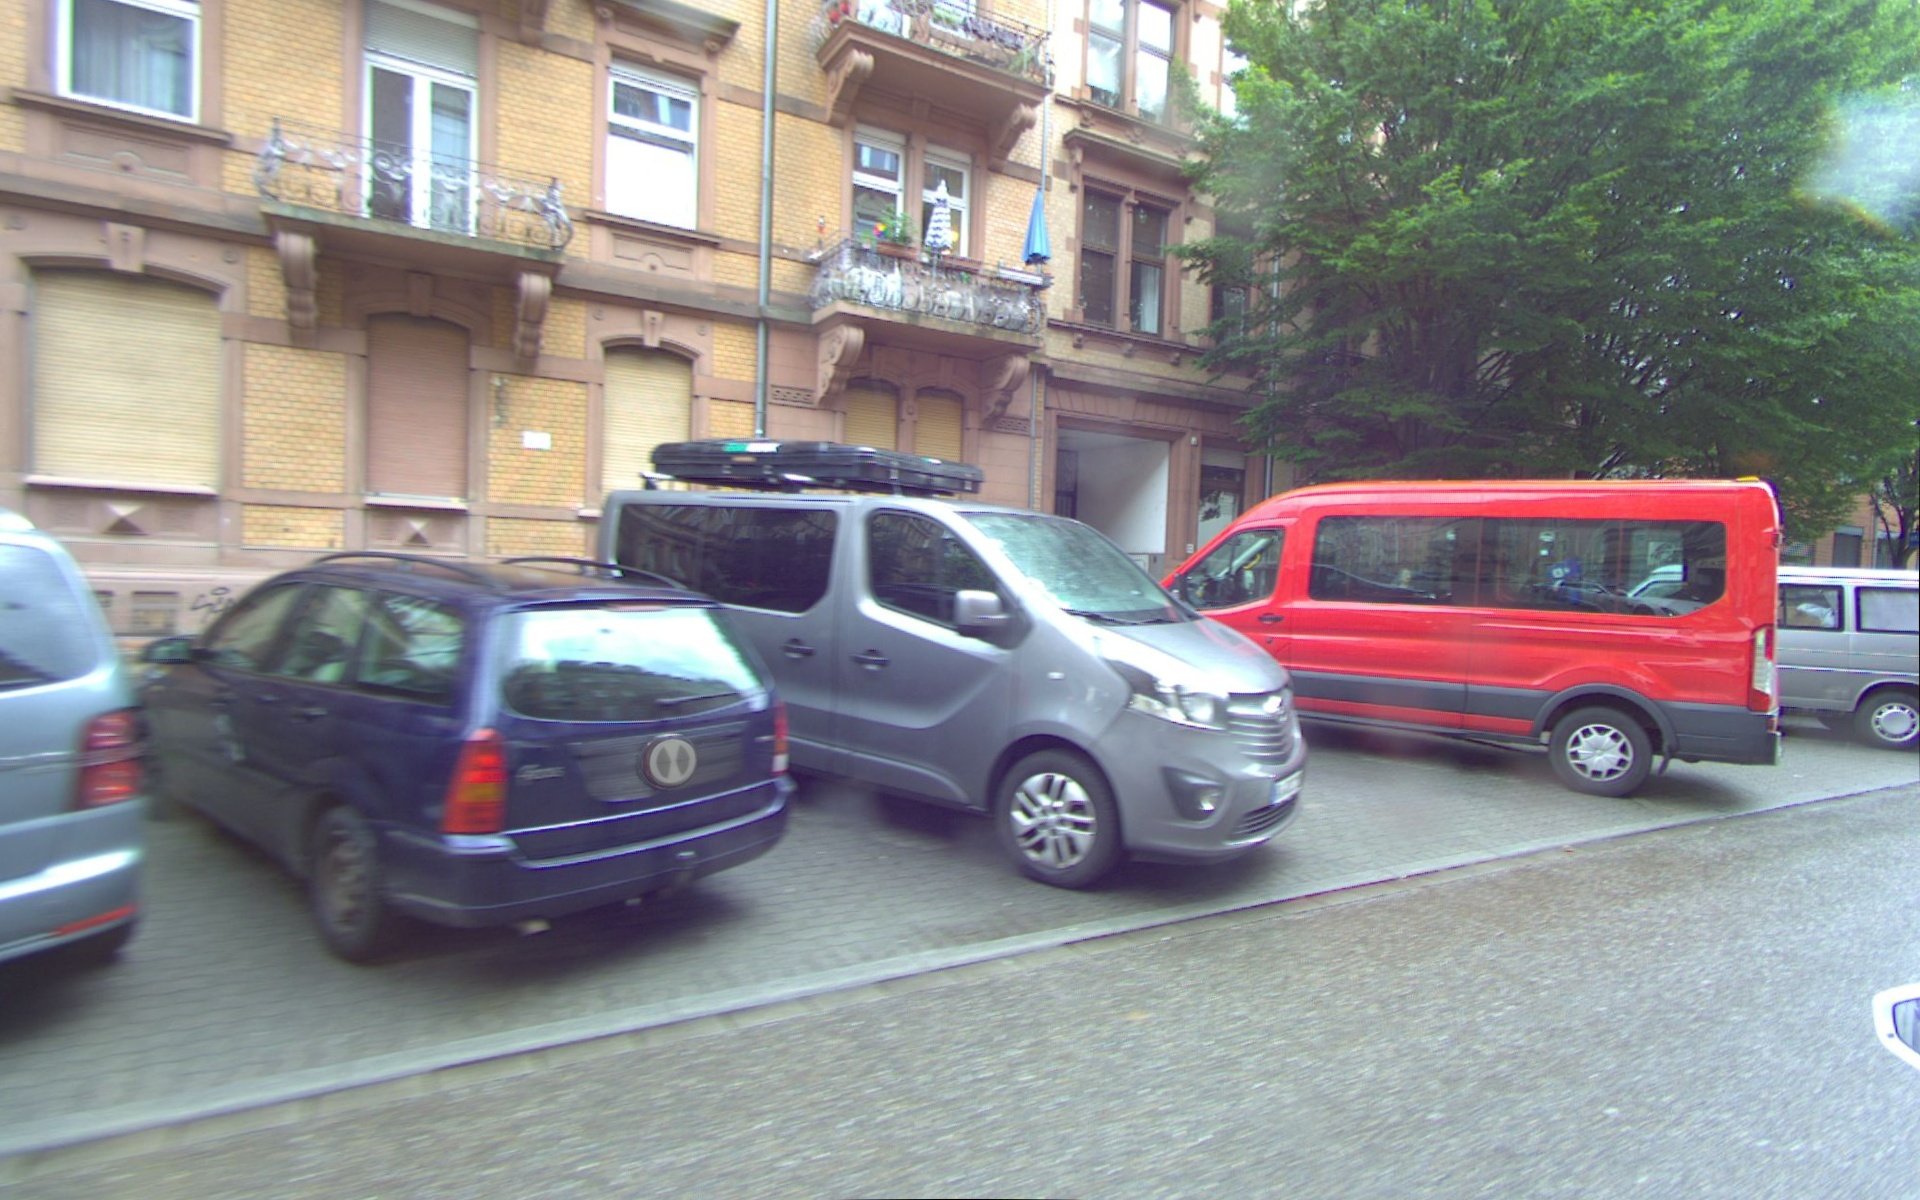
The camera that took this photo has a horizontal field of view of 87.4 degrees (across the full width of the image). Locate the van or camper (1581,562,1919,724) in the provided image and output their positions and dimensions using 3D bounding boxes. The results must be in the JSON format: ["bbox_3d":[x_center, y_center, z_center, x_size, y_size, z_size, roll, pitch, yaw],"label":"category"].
[{"bbox_3d":[12.133,0.549,14.731,4.605,1.979,2.337,4,3,18],"label":"van or camper"}]

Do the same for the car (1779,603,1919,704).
[{"bbox_3d":[16.161,0.925,16.363,3.901,1.466,1.767,4,3,20],"label":"car"}]

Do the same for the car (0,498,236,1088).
[{"bbox_3d":[-4.688,0.397,3.757,4.371,1.653,1.839,6,4,34],"label":"car"}]

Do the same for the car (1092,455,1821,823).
[{"bbox_3d":[4.242,0.149,9.455,5.477,2.575,2.223,3,2,33],"label":"car"}]

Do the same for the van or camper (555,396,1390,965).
[{"bbox_3d":[-0.109,0.229,6.553,4.941,2.381,2.337,3,2,34],"label":"van or camper"}]

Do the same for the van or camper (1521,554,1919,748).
[{"bbox_3d":[9.587,0.534,12.498,4.366,2.002,1.779,4,2,27],"label":"van or camper"}]

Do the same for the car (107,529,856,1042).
[{"bbox_3d":[-2.710,0.491,5.178,4.288,1.525,1.747,5,4,38],"label":"car"}]

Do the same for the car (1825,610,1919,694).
[{"bbox_3d":[18.187,0.958,18.186,3.411,1.455,1.652,1,0,18],"label":"car"}]
